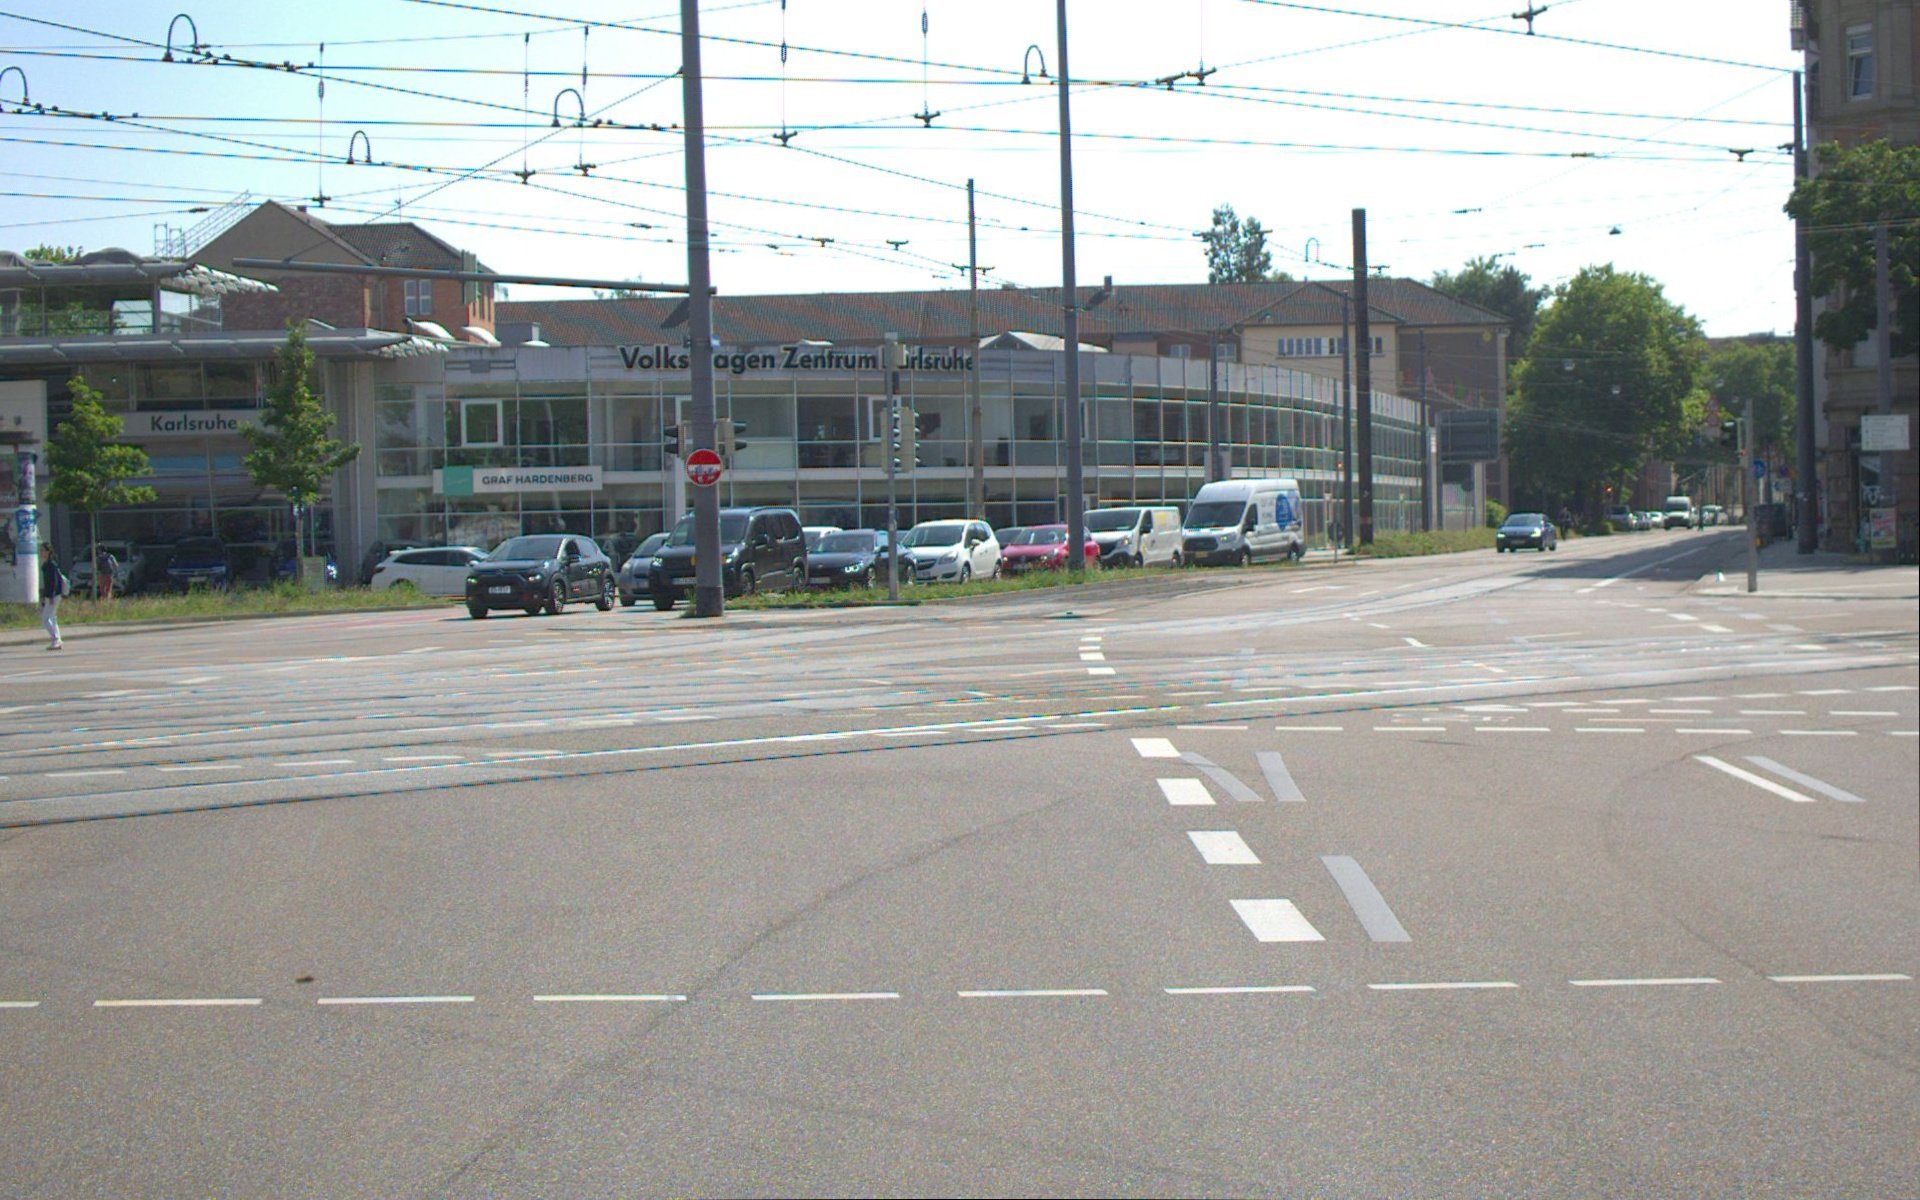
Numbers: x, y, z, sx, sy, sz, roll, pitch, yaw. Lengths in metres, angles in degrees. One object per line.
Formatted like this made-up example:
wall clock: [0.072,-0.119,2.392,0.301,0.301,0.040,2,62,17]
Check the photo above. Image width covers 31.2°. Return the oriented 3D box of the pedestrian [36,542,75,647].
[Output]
pedestrian: [-13.909,-0.081,52.853,0.453,1.599,0.400,1,0,-36]

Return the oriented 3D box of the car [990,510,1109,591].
car: [2.245,-1.208,85.317,1.896,1.910,4.197,-1,0,17]

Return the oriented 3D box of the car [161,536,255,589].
car: [-21.925,-1.109,100.346,1.993,1.481,4.000,1,1,-2]

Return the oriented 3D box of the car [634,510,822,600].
car: [-4.309,-0.869,64.579,1.962,1.582,4.713,-1,1,17]

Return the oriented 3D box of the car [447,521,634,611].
car: [-7.765,-0.615,63.968,1.893,1.582,4.207,-1,0,17]

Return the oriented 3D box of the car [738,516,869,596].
car: [-3.524,-0.979,78.099,1.653,1.733,4.197,-1,0,17]

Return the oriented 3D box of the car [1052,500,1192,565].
car: [4.385,-1.831,92.362,2.188,1.675,5.024,-1,1,22]

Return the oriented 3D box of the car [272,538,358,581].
car: [-18.731,-1.180,99.956,1.830,1.191,4.000,1,1,-2]

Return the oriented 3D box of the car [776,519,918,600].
car: [-2.301,-0.819,71.129,1.895,1.582,3.997,-1,0,14]

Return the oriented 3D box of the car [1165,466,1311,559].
car: [8.086,-2.508,99.490,2.211,2.566,5.867,1,1,26]

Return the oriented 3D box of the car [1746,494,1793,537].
car: [39.009,-4.076,165.625,2.110,2.007,3.998,-1,1,14]

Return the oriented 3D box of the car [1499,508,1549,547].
car: [21.331,-2.724,129.949,1.385,1.409,3.010,1,1,19]

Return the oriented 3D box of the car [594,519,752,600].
car: [-5.869,-0.825,70.778,1.896,1.582,3.997,-1,0,17]

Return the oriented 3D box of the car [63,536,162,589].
car: [-24.710,-1.094,100.374,1.993,1.481,4.000,1,1,-2]

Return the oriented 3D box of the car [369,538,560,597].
car: [-12.613,-0.838,87.465,4.587,1.431,1.443,1,0,14]

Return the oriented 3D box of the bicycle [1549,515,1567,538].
bicycle: [32.132,-3.928,184.747,0.752,1.190,2.837,1,1,13]

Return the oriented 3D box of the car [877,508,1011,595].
car: [-0.326,-1.083,78.419,1.896,1.910,4.197,-1,0,17]

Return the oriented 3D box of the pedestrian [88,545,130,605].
pedestrian: [-22.317,-0.656,90.174,0.953,1.574,0.534,1,0,-3]

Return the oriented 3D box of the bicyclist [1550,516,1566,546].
bicyclist: [32.136,-3.711,184.795,0.752,1.562,1.086,1,0,13]
